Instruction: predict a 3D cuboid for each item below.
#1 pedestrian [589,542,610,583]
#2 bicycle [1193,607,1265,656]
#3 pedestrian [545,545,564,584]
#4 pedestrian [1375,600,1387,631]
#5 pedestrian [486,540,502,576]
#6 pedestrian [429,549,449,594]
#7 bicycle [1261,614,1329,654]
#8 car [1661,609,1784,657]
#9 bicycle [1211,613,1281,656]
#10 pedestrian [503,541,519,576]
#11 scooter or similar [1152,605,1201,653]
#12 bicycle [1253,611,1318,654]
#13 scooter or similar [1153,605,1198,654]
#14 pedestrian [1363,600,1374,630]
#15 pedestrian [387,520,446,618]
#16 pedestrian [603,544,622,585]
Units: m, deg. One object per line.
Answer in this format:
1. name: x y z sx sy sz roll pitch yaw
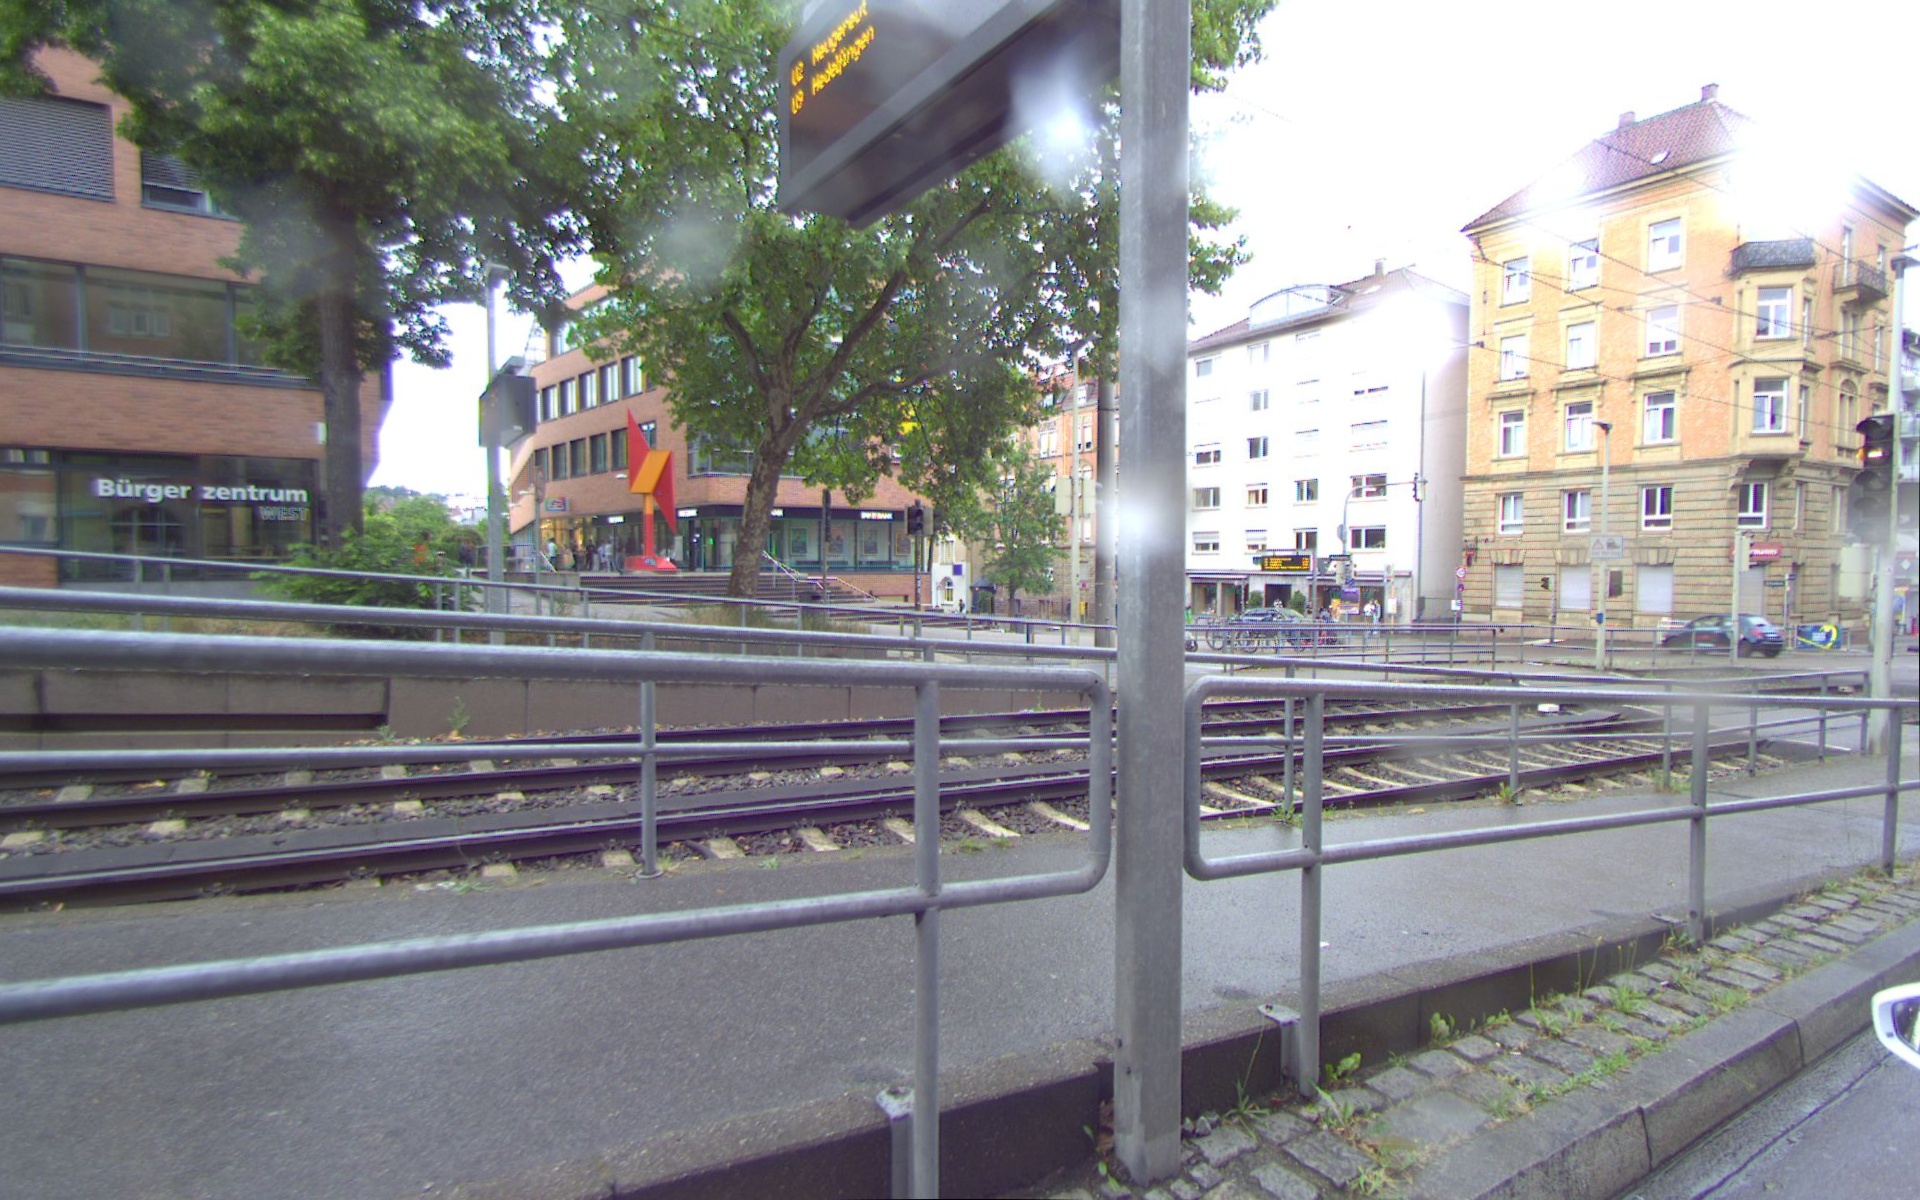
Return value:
1. pedestrian: -18.418 -1.918 51.309 0.707 2.040 0.716 1 0 45
2. bicycle: 7.237 0.836 27.069 0.514 1.211 1.853 1 1 -43
3. pedestrian: -21.166 -1.844 52.430 0.711 2.040 0.713 1 0 -38
4. pedestrian: 22.682 0.827 54.062 0.507 1.643 0.486 2 1 18
5. pedestrian: -27.100 -2.437 58.419 0.711 2.040 0.713 1 0 -38
6. pedestrian: -24.430 -1.325 47.110 0.711 2.040 0.713 1 0 -38
7. bicycle: 9.906 0.992 29.762 0.514 1.079 1.853 1 1 -43
8. car: 26.692 1.127 35.260 1.405 1.509 3.142 1 1 -25
9. bicycle: 7.908 0.937 27.855 0.514 1.076 1.852 1 1 -44
10. pedestrian: -26.288 -2.425 58.802 0.710 2.041 0.713 1 1 -37
11. scooter or similar: 5.721 0.757 26.579 1.226 1.211 0.299 2 1 6
12. bicycle: 9.437 0.919 29.186 0.514 1.158 1.750 1 1 -43
13. scooter or similar: 5.549 0.759 25.900 1.090 1.211 0.362 2 1 6
14. pedestrian: 22.192 0.819 54.556 0.507 1.643 0.486 2 1 18
15. pedestrian: -11.699 -0.657 21.622 0.973 2.041 0.726 1 1 -41
16. pedestrian: -17.416 -1.762 50.318 0.711 2.040 0.713 1 0 -38
